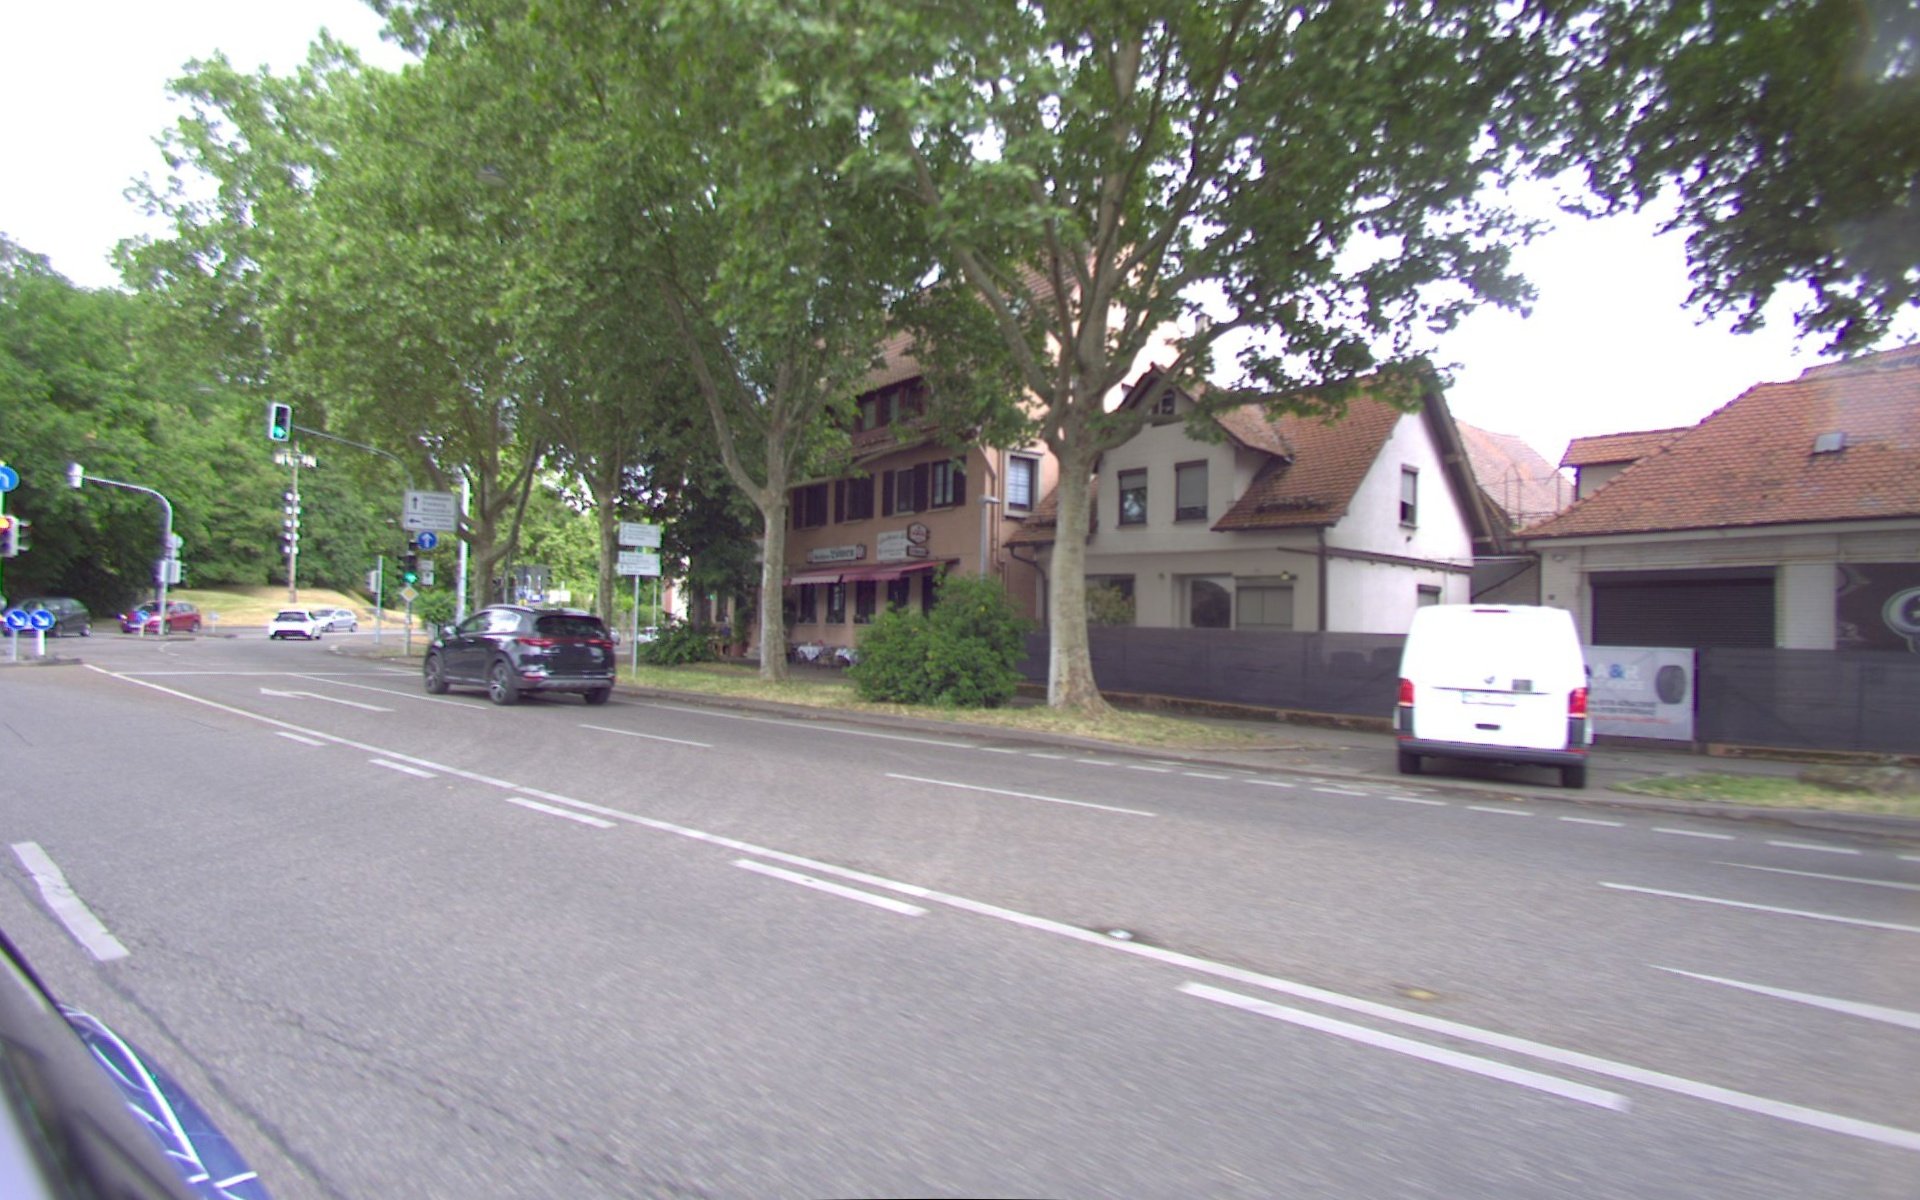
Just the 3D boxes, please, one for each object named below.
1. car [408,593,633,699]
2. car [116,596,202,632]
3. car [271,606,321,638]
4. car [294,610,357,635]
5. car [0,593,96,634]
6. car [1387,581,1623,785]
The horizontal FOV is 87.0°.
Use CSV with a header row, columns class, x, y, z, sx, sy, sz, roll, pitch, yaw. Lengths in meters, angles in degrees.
class,x,y,z,sx,sy,sz,roll,pitch,yaw
car,-7.715,0.789,17.578,4.412,1.599,1.778,-1,-5,41
car,-39.984,0.728,50.643,1.649,1.654,4.110,2,-2,-12
car,-33.088,1.090,50.489,1.738,1.477,4.034,4,-3,-30
car,-42.888,1.540,68.491,1.759,1.580,4.000,2,-2,-1
car,-36.591,0.551,40.467,1.702,1.532,4.012,3,-2,-19
car,6.662,0.980,12.491,2.075,1.946,5.192,0,-4,28
